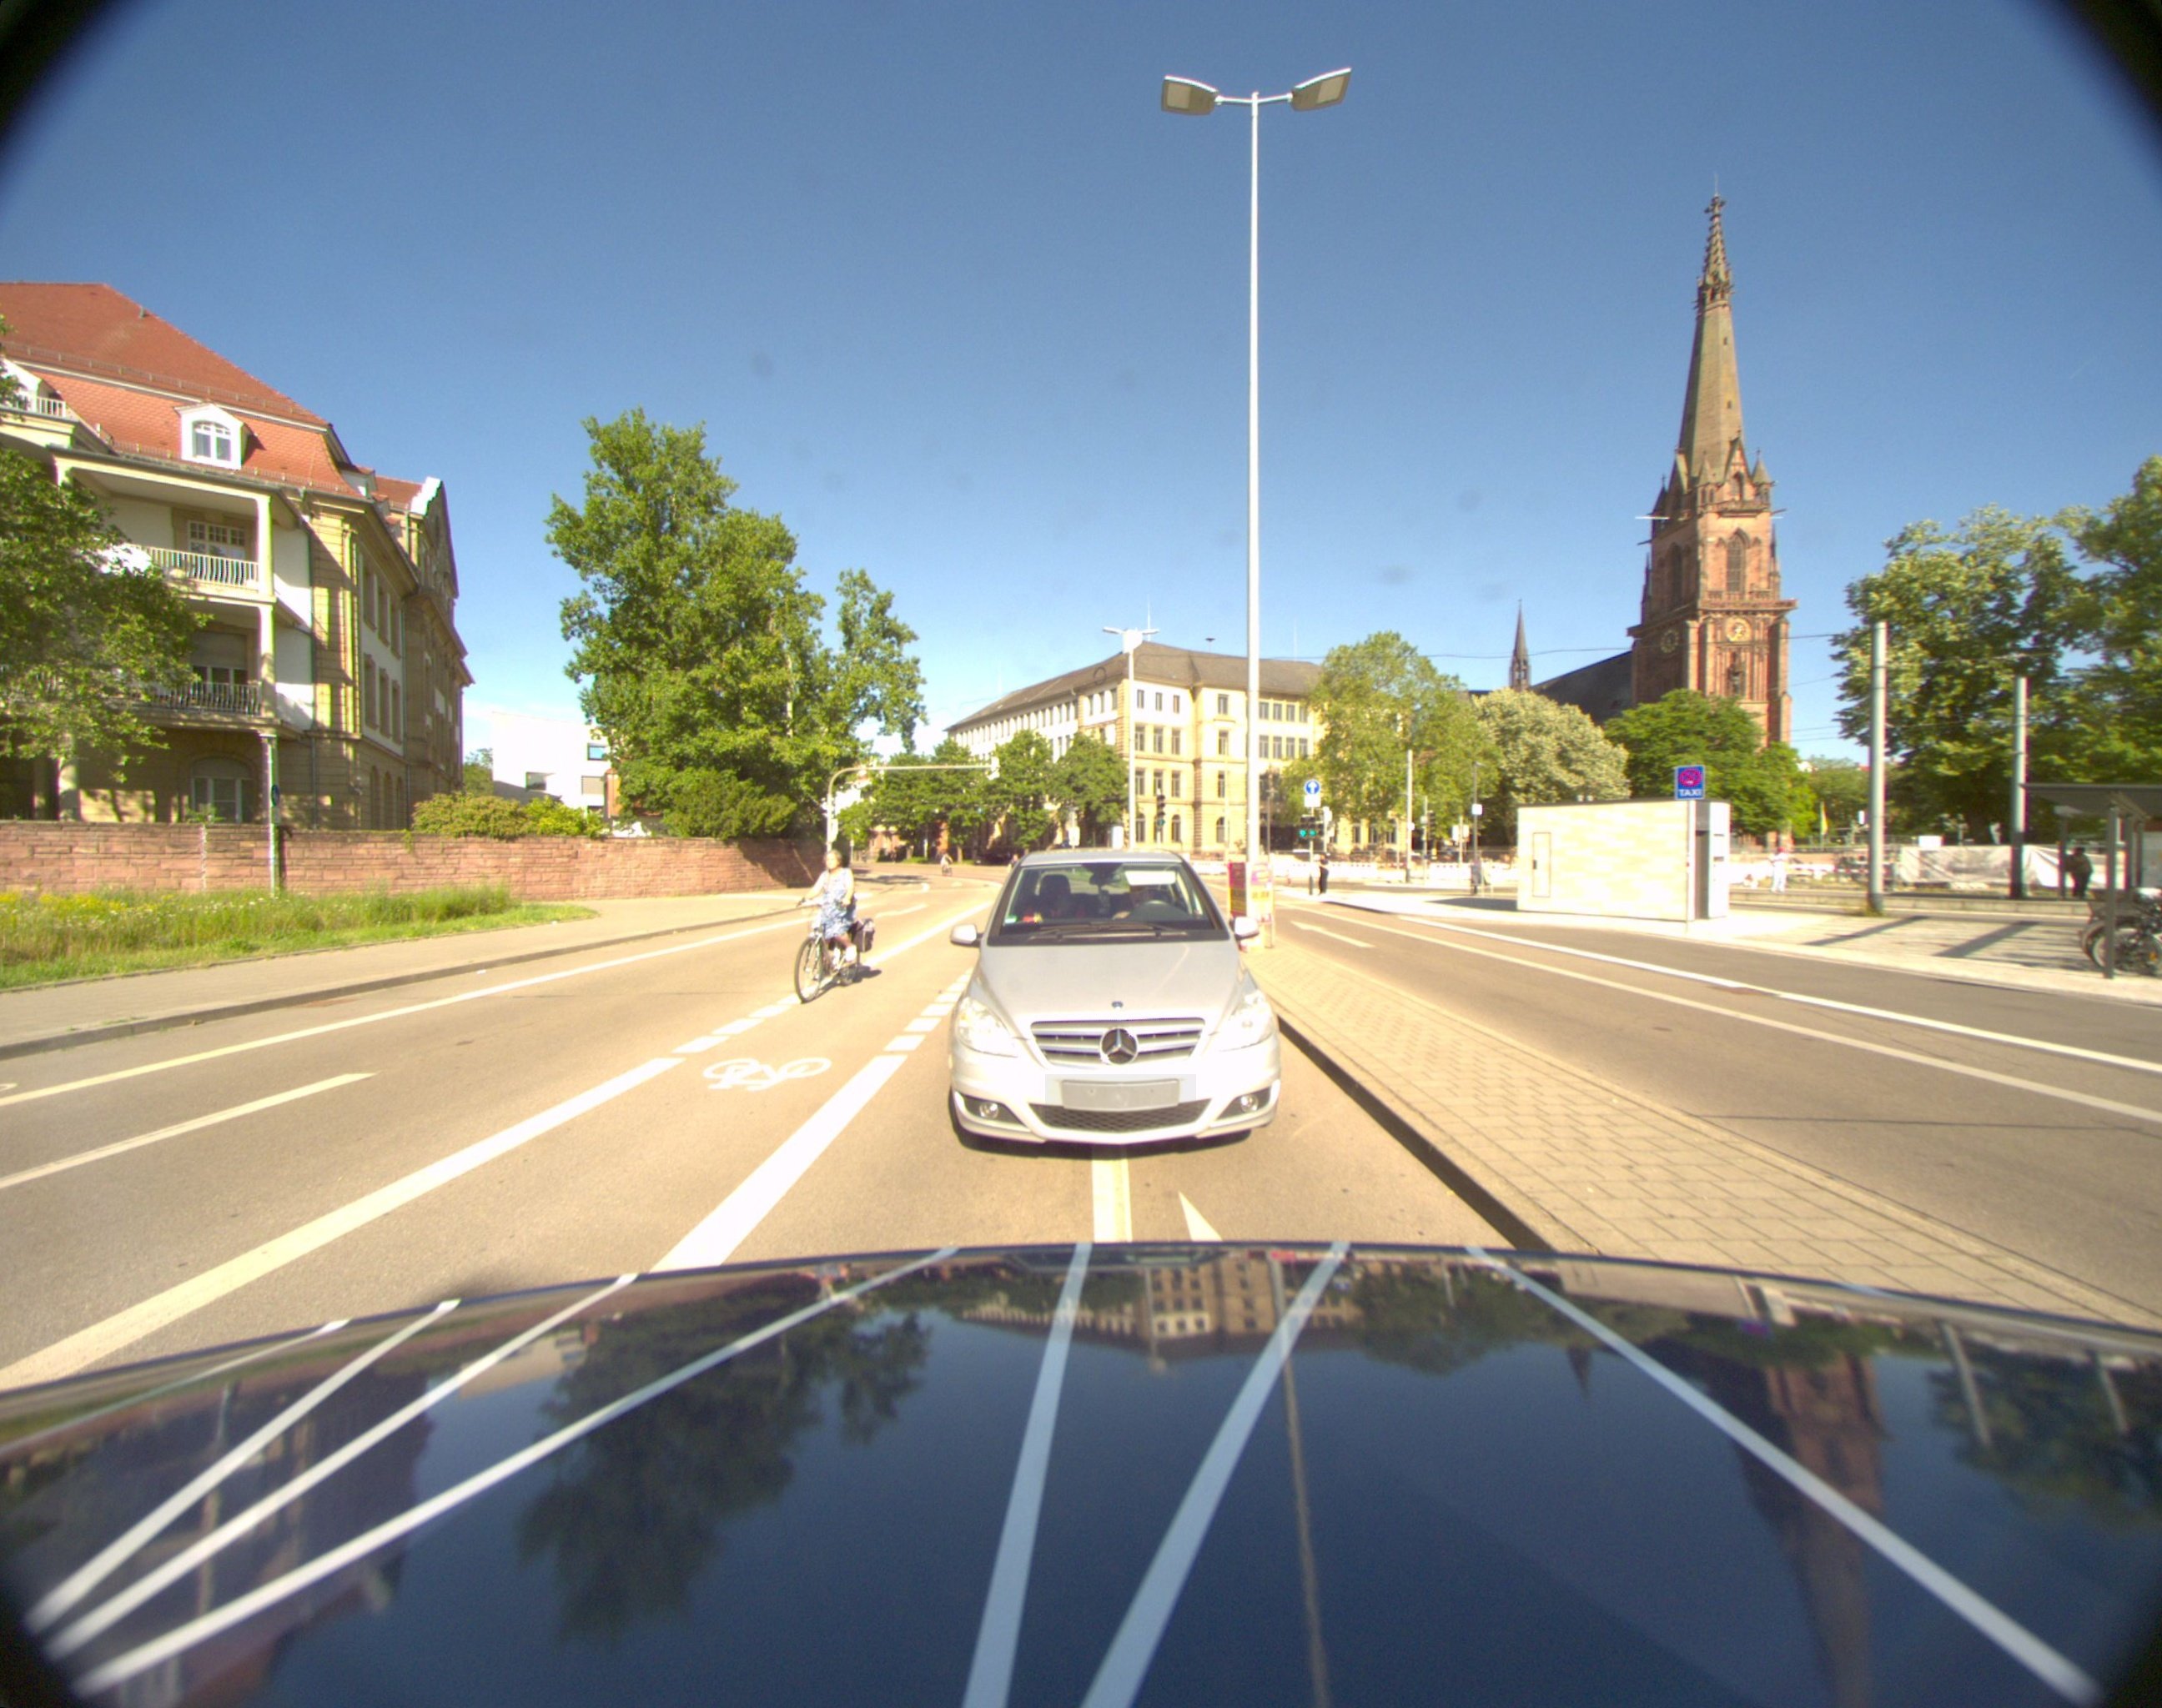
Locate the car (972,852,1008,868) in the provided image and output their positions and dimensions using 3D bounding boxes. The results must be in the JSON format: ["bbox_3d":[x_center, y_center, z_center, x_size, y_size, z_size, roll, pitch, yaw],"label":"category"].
[{"bbox_3d":[-10.823,0.719,90.499,1.994,1.805,3.809,1,1,44],"label":"car"}]

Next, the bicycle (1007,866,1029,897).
[{"bbox_3d":[-2.459,1.055,29.719,0.642,1.158,1.870,-1,0,1],"label":"bicycle"}]

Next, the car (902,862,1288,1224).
[{"bbox_3d":[0.116,0.906,5.841,1.770,1.584,4.638,-1,1,1],"label":"car"}]

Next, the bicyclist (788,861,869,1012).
[{"bbox_3d":[-2.917,0.926,8.858,0.643,1.653,0.776,-1,2,1],"label":"bicyclist"}]

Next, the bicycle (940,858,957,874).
[{"bbox_3d":[-10.066,0.905,57.750,0.780,1.158,1.964,-1,1,-24],"label":"bicycle"}]

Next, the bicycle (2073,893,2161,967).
[{"bbox_3d":[16.197,1.150,11.260,0.569,1.032,1.783,1,1,-37],"label":"bicycle"}]

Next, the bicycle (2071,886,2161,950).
[{"bbox_3d":[18.650,1.117,13.166,0.569,1.032,1.783,1,1,-37],"label":"bicycle"}]

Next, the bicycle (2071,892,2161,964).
[{"bbox_3d":[16.676,1.159,11.652,0.569,1.032,1.783,1,1,-37],"label":"bicycle"}]

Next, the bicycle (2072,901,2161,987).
[{"bbox_3d":[14.018,1.178,9.606,0.569,1.032,1.783,1,1,-37],"label":"bicycle"}]

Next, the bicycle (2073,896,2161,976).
[{"bbox_3d":[15.146,1.163,10.455,0.569,1.032,1.783,1,1,-37],"label":"bicycle"}]

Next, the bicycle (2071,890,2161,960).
[{"bbox_3d":[17.168,1.150,12.027,0.569,1.032,1.783,1,1,-37],"label":"bicycle"}]

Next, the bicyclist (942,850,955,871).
[{"bbox_3d":[-10.050,0.480,57.709,0.780,1.543,0.918,-1,1,-24],"label":"bicyclist"}]

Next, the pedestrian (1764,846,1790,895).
[{"bbox_3d":[25.220,0.607,27.537,0.537,1.712,0.684,-1,-4,31],"label":"pedestrian"}]

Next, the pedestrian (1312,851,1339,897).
[{"bbox_3d":[9.277,0.753,28.887,0.789,1.671,0.648,-2,1,2],"label":"pedestrian"}]

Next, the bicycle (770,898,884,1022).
[{"bbox_3d":[-2.915,1.170,8.937,0.642,1.158,1.968,-1,1,1],"label":"bicycle"}]

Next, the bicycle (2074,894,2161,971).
[{"bbox_3d":[15.700,1.151,10.868,0.569,1.032,1.783,1,1,-37],"label":"bicycle"}]

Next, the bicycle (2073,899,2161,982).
[{"bbox_3d":[14.542,1.169,9.997,0.569,1.032,1.783,1,1,-37],"label":"bicycle"}]

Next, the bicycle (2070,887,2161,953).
[{"bbox_3d":[18.166,1.128,12.804,0.569,1.032,1.783,1,1,-37],"label":"bicycle"}]

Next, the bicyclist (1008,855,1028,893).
[{"bbox_3d":[-2.464,0.770,29.660,0.643,1.436,0.953,-1,0,1],"label":"bicyclist"}]

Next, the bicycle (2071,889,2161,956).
[{"bbox_3d":[17.693,1.140,12.439,0.569,1.032,1.783,1,1,-37],"label":"bicycle"}]

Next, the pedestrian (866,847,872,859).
[{"bbox_3d":[-28.984,-0.087,103.975,0.637,1.602,0.845,-3,1,-27],"label":"pedestrian"}]

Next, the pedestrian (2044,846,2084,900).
[{"bbox_3d":[30.546,0.583,23.608,0.567,1.645,0.518,-2,1,1],"label":"pedestrian"}]

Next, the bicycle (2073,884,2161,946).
[{"bbox_3d":[19.135,1.105,13.511,0.569,1.032,1.783,1,1,-37],"label":"bicycle"}]
